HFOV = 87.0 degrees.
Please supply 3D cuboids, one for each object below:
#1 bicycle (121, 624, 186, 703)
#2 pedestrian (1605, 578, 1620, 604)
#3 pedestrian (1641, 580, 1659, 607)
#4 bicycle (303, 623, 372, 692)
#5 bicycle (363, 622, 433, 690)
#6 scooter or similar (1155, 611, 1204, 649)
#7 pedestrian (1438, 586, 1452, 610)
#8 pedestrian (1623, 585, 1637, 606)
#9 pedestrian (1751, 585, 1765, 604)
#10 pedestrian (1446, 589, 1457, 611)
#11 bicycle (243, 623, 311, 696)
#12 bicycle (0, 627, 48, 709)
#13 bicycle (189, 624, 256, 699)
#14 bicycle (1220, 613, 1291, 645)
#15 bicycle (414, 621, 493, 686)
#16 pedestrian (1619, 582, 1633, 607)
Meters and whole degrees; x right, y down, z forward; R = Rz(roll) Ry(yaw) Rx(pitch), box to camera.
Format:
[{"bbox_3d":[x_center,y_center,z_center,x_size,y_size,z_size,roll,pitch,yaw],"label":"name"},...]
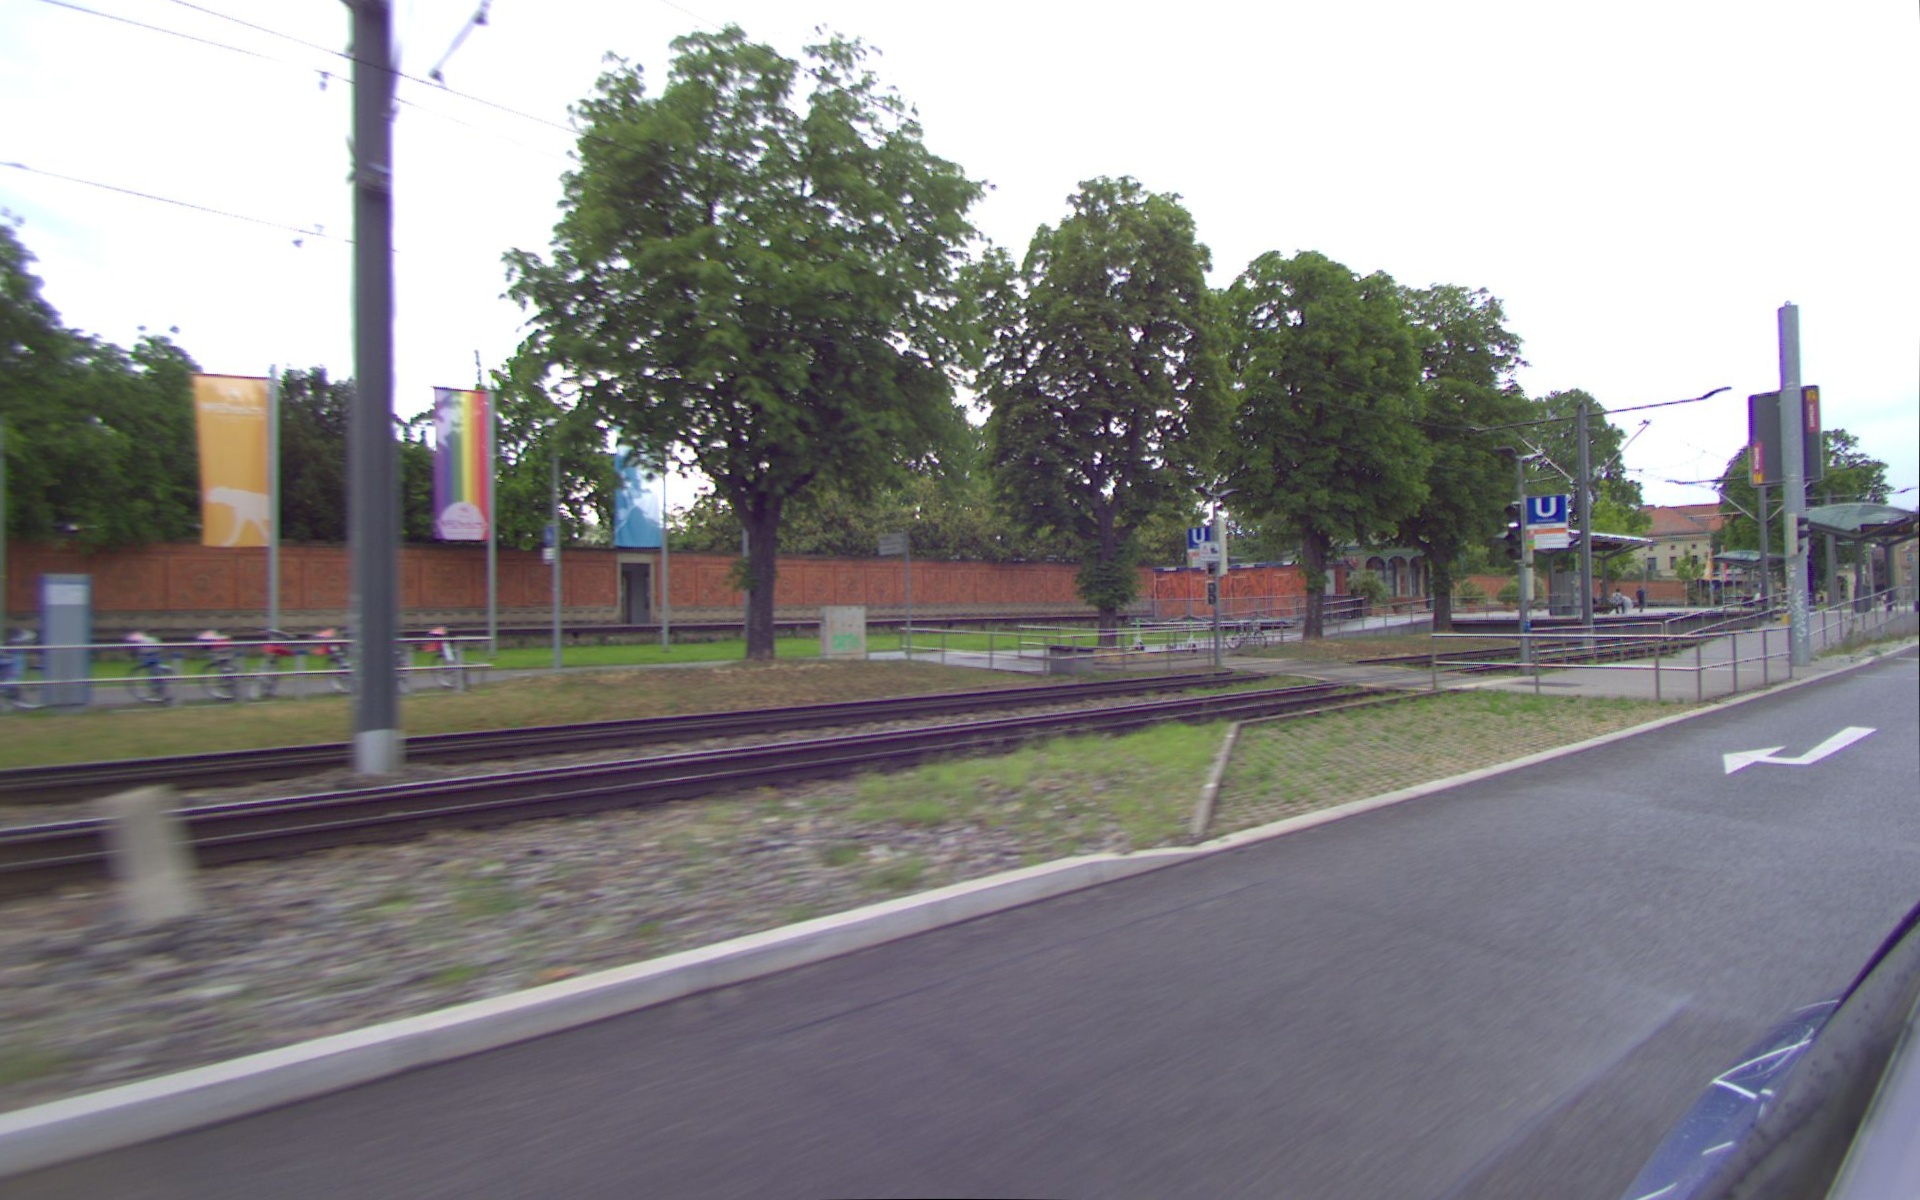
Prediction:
[{"bbox_3d":[-11.814,0.894,14.808,0.641,1.047,1.812,0,-1,-42],"label":"bicycle"},{"bbox_3d":[31.896,-0.445,49.456,0.541,1.241,0.438,0,0,-40],"label":"pedestrian"},{"bbox_3d":[47.510,-0.438,69.664,1.161,1.813,0.722,0,0,-40],"label":"pedestrian"},{"bbox_3d":[-10.175,0.904,16.515,0.641,1.045,1.812,0,-1,-42],"label":"bicycle"},{"bbox_3d":[-9.416,0.907,16.918,0.641,1.045,1.812,0,-1,-42],"label":"bicycle"},{"bbox_3d":[6.809,0.909,31.463,0.424,1.151,1.546,0,0,-41],"label":"scooter or similar"},{"bbox_3d":[36.674,-0.156,76.477,0.681,1.732,0.533,-3,-2,-29],"label":"pedestrian"},{"bbox_3d":[32.910,-0.212,49.727,0.541,1.021,0.438,0,0,-40],"label":"pedestrian"},{"bbox_3d":[53.744,-0.346,68.176,0.770,1.228,0.518,-2,-5,-44],"label":"pedestrian"},{"bbox_3d":[37.407,-0.006,77.053,0.460,1.678,0.552,-2,-1,-6],"label":"pedestrian"},{"bbox_3d":[-10.743,0.904,15.896,0.641,1.045,1.849,0,-1,-42],"label":"bicycle"},{"bbox_3d":[-13.030,0.907,13.965,0.641,1.045,1.812,0,-1,-42],"label":"bicycle"},{"bbox_3d":[-11.230,0.904,15.384,0.641,1.045,1.812,0,-1,-42],"label":"bicycle"},{"bbox_3d":[9.742,0.942,33.457,0.560,0.969,2.325,0,0,-41],"label":"bicycle"},{"bbox_3d":[-8.859,0.901,17.654,0.677,1.045,2.225,0,-1,-42],"label":"bicycle"},{"bbox_3d":[32.300,-0.262,49.100,0.541,1.241,0.438,0,0,-40],"label":"pedestrian"}]
